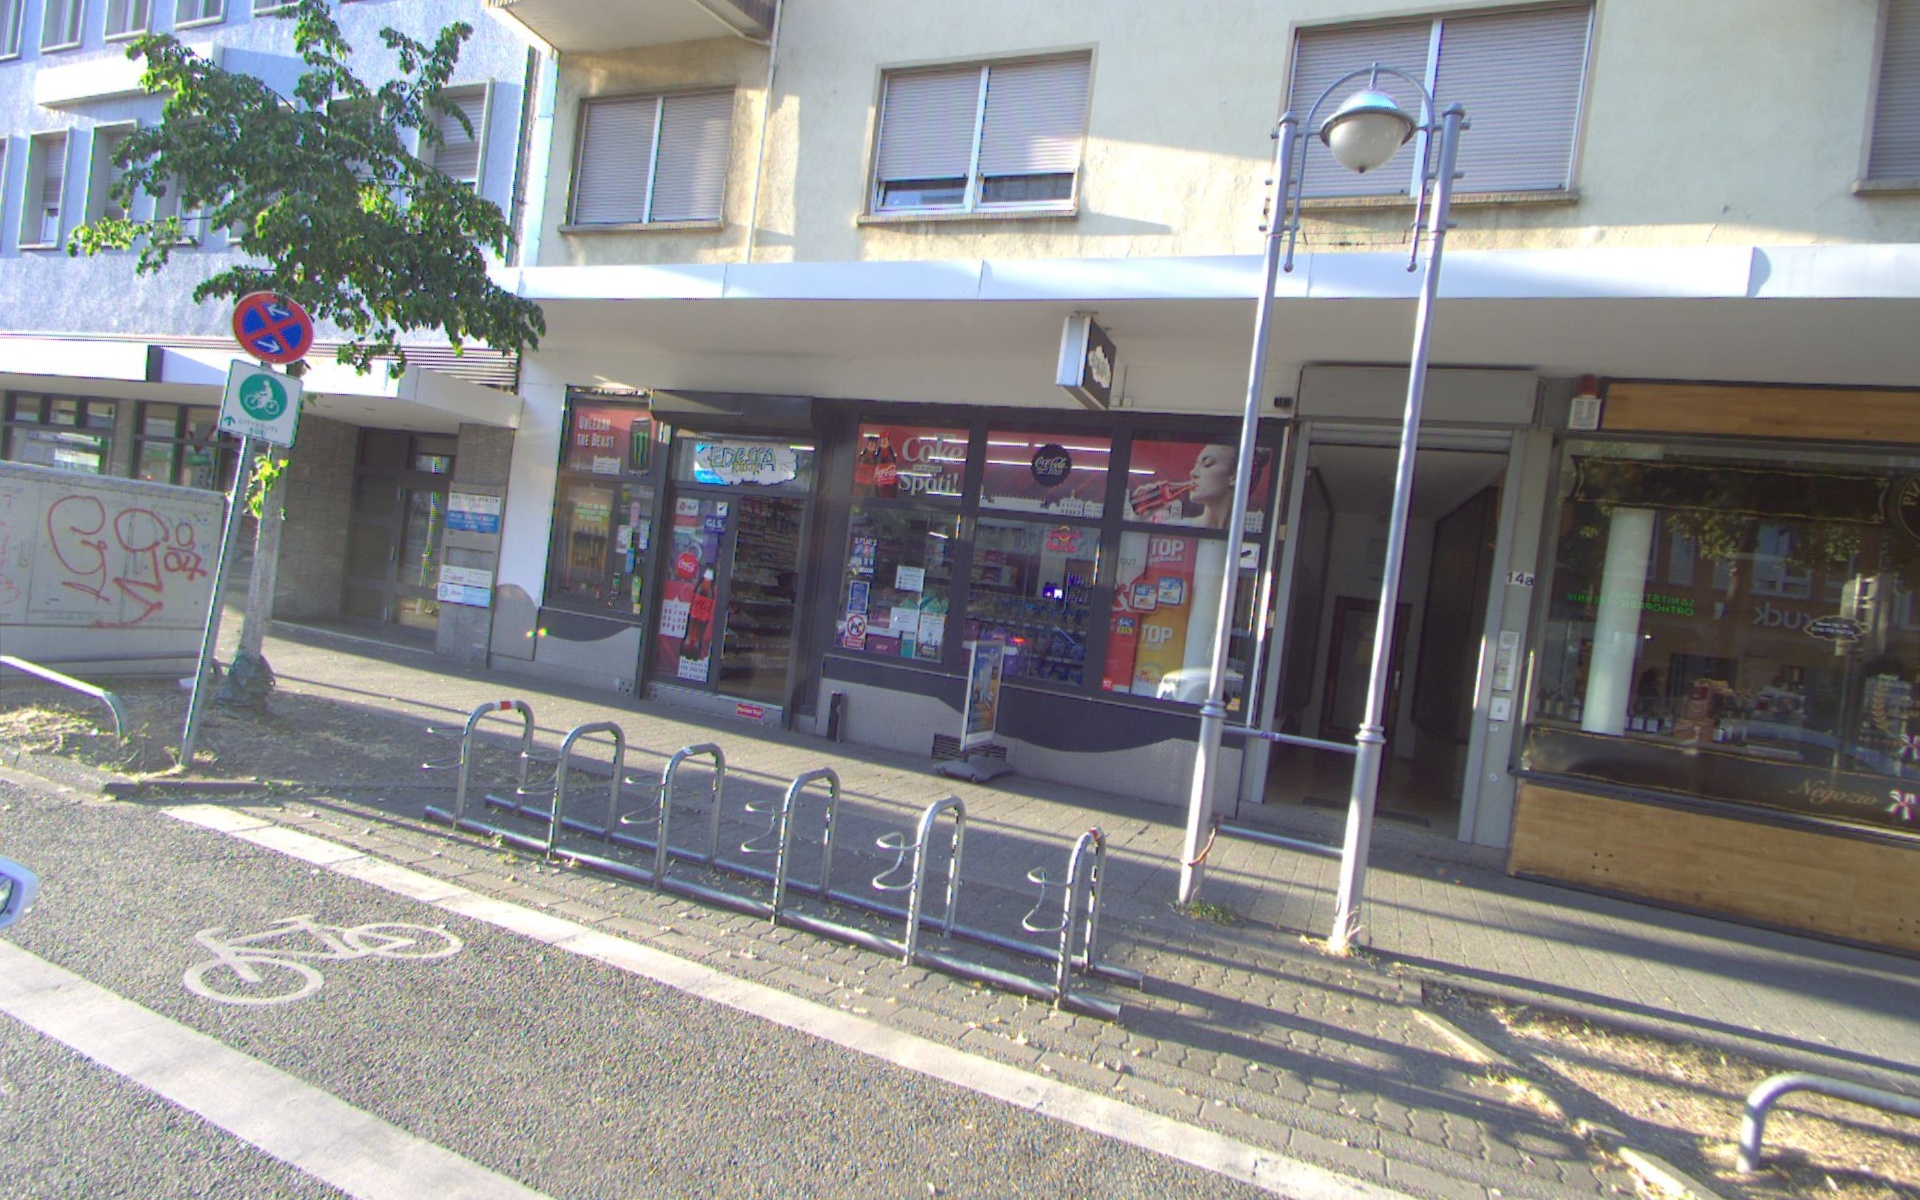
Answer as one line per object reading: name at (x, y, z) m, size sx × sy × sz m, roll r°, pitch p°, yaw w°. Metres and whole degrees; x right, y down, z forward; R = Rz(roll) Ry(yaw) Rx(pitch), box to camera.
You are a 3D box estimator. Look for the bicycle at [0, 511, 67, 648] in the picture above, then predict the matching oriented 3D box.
bicycle at (-9.099, -0.236, 9.055) m, size 0.376 × 1.234 × 1.445 m, roll 7°, pitch -1°, yaw 25°
